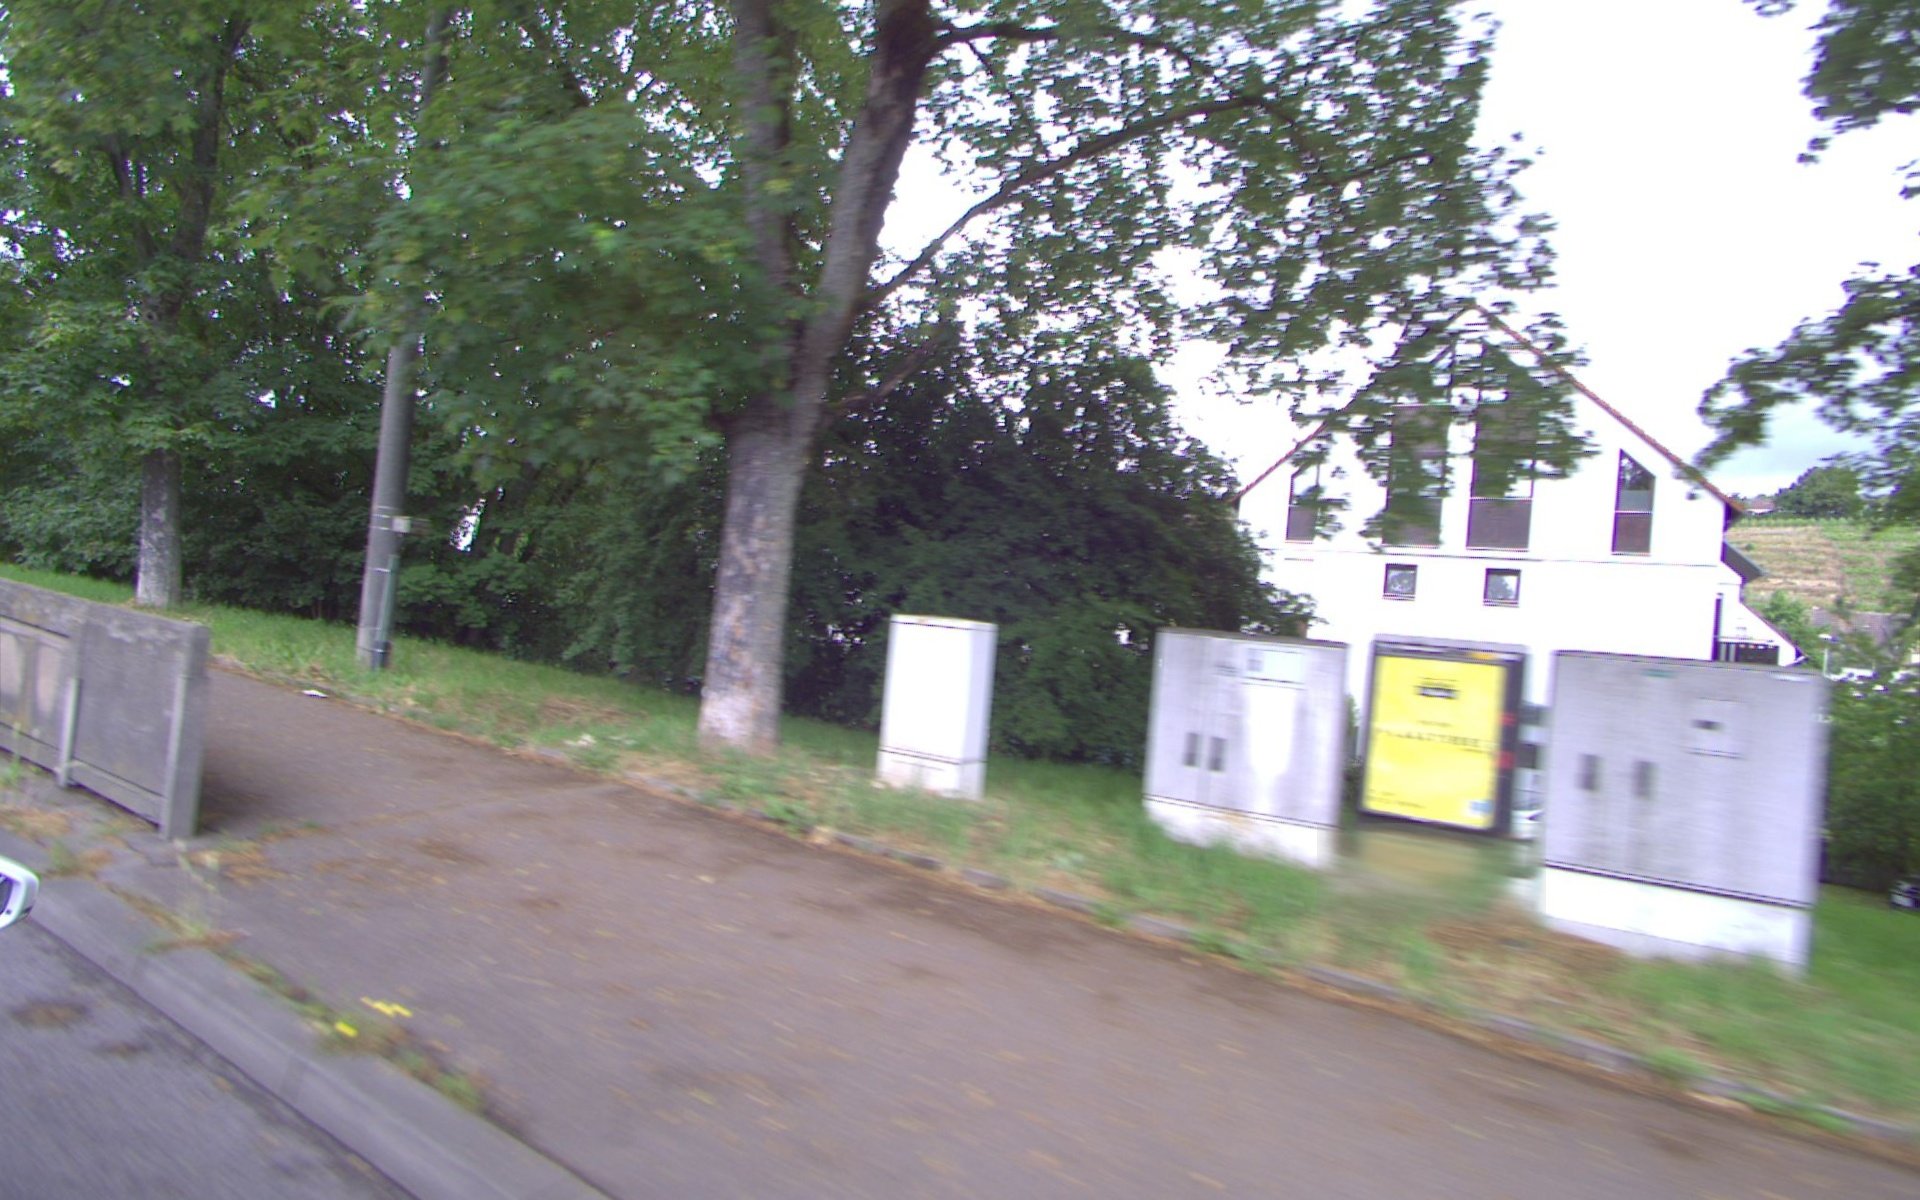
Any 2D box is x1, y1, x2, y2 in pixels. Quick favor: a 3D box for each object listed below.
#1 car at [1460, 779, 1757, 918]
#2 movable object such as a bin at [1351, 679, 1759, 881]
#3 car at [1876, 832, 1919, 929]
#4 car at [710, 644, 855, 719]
[{"bbox_3d":[10.432,3.977,16.500,3.769,1.401,1.485,6,-3,21],"label":"car"},{"bbox_3d":[10.830,3.211,18.989,6.158,2.652,2.002,5,-3,24],"label":"movable object such as a bin"},{"bbox_3d":[15.892,4.365,14.333,3.787,1.260,1.629,6,-3,21],"label":"car"},{"bbox_3d":[-4.739,2.244,27.209,1.718,1.635,3.544,5,-4,36],"label":"car"}]
